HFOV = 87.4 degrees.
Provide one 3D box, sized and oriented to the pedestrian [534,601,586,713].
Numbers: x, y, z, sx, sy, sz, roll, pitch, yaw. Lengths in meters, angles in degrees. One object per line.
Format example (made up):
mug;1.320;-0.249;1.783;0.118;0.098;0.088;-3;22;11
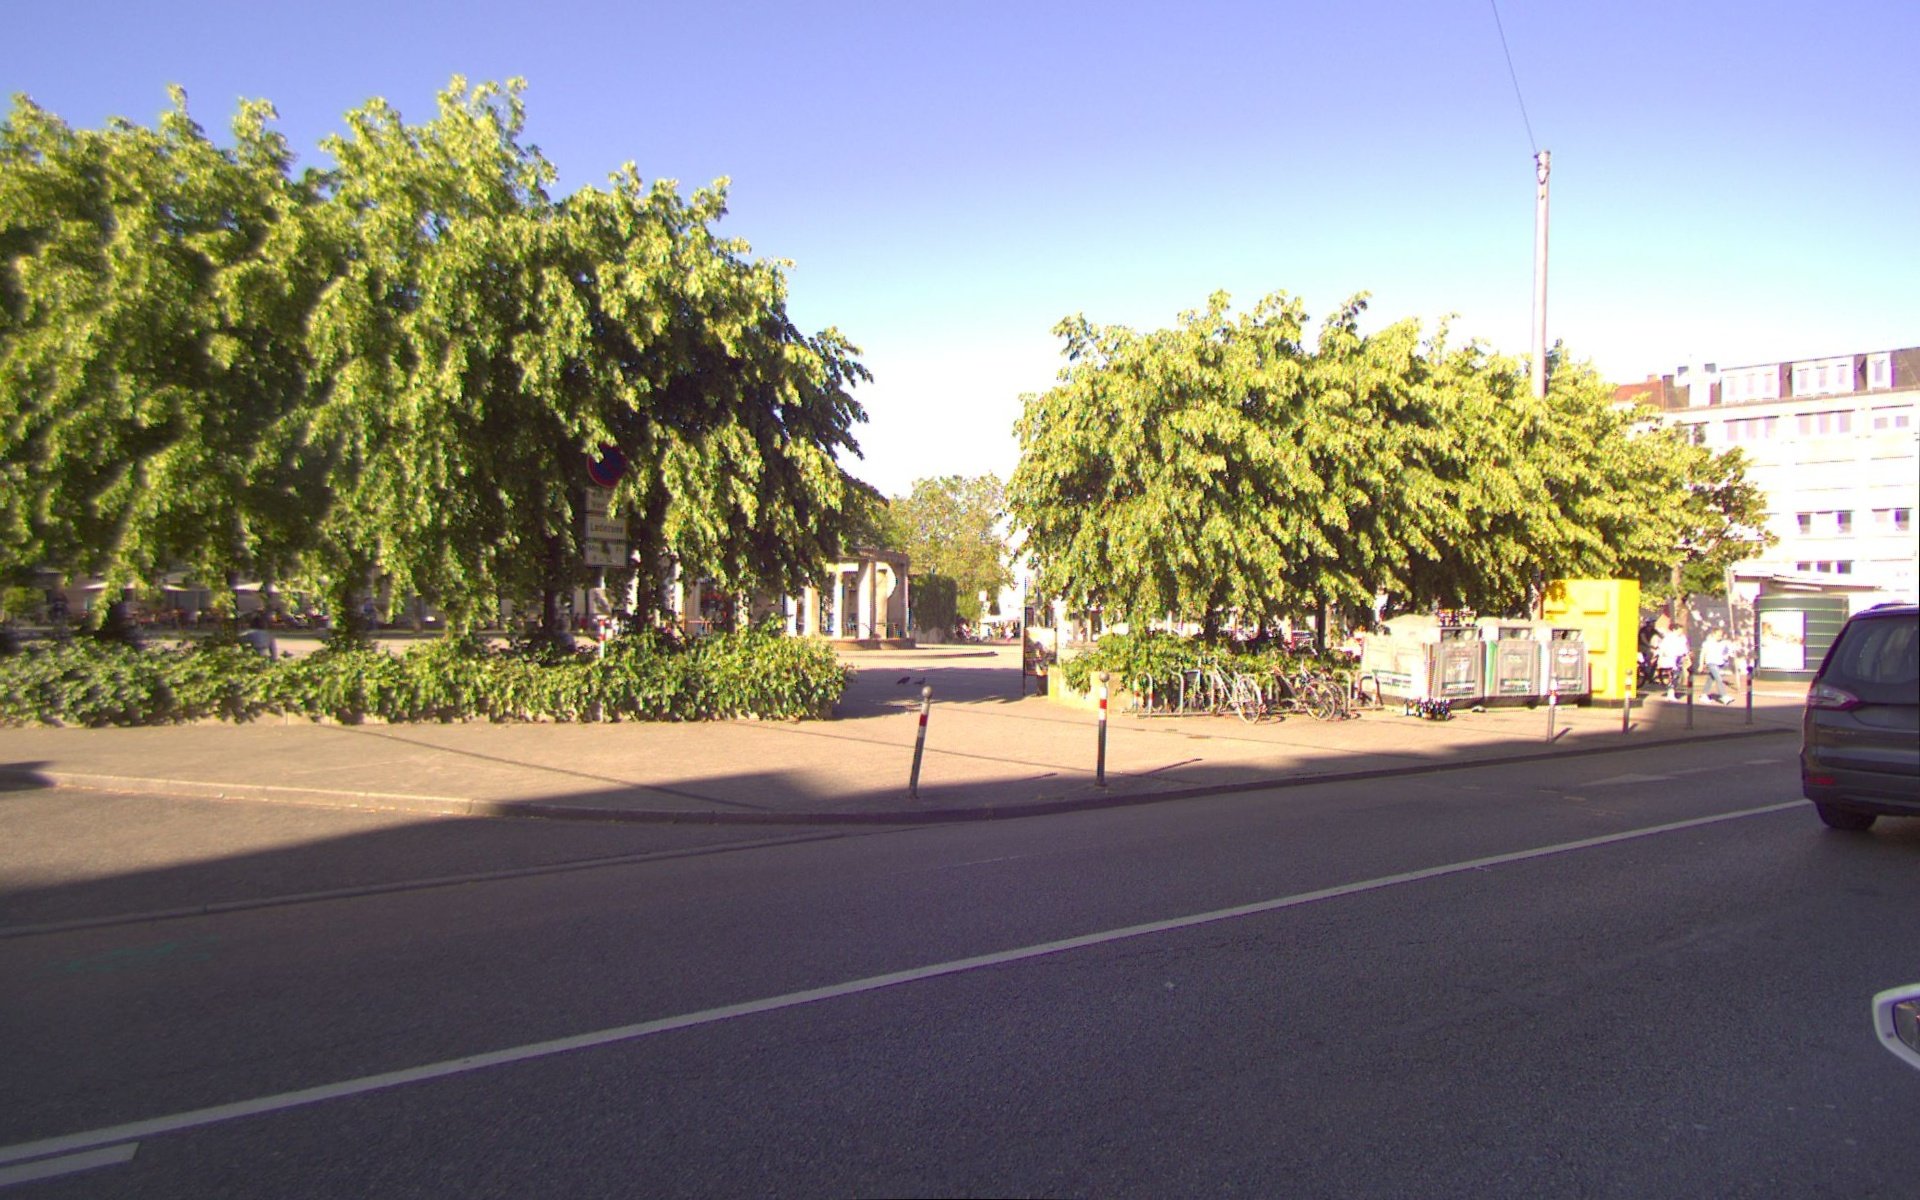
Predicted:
pedestrian;-6.566;0.913;16.513;0.725;1.781;0.895;1;-1;-19

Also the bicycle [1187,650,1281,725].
bicycle;4.212;1.324;15.541;0.425;1.031;1.590;1;0;-28

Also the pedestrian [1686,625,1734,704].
pedestrian;16.387;1.394;21.949;0.608;1.684;0.685;1;-1;13

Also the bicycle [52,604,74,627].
bicycle;-38.123;0.679;42.703;0.584;0.966;1.885;2;-2;-39

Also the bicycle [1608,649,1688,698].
bicycle;18.307;1.936;26.797;0.528;1.154;2.065;1;1;-6

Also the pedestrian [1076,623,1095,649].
pedestrian;10.182;2.882;81.462;1.252;2.040;1.285;1;-1;-4

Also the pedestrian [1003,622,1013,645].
pedestrian;4.407;3.077;91.957;0.886;2.040;1.286;0;0;6

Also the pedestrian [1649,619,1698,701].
pedestrian;15.652;1.306;22.045;0.661;1.751;0.549;1;-1;3

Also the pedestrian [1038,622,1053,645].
pedestrian;7.910;3.112;93.072;1.252;2.040;1.285;1;-1;-4

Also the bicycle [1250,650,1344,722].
bicycle;5.381;1.357;16.124;0.425;1.036;1.561;1;-1;-28

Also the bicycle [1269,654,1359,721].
bicycle;5.771;1.403;16.451;0.425;0.971;1.518;0;0;-28

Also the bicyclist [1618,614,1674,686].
bicyclist;18.215;1.312;26.701;0.773;1.862;0.952;1;0;-7

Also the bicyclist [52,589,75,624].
bicyclist;-38.082;0.278;42.688;0.668;1.447;0.691;1;-1;-39

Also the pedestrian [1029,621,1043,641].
pedestrian;7.793;3.182;102.675;1.252;2.040;1.285;1;-1;-4

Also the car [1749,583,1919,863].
car;8.170;0.836;7.602;4.675;1.795;1.983;1;-2;-32

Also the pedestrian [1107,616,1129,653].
pedestrian;8.926;1.928;56.813;0.913;2.040;1.184;1;-1;-5

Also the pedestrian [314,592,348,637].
pedestrian;-25.029;0.571;39.992;0.723;1.781;0.898;1;-1;29

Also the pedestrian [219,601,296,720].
pedestrian;-10.876;0.923;15.576;0.725;1.781;0.895;1;-1;-19
